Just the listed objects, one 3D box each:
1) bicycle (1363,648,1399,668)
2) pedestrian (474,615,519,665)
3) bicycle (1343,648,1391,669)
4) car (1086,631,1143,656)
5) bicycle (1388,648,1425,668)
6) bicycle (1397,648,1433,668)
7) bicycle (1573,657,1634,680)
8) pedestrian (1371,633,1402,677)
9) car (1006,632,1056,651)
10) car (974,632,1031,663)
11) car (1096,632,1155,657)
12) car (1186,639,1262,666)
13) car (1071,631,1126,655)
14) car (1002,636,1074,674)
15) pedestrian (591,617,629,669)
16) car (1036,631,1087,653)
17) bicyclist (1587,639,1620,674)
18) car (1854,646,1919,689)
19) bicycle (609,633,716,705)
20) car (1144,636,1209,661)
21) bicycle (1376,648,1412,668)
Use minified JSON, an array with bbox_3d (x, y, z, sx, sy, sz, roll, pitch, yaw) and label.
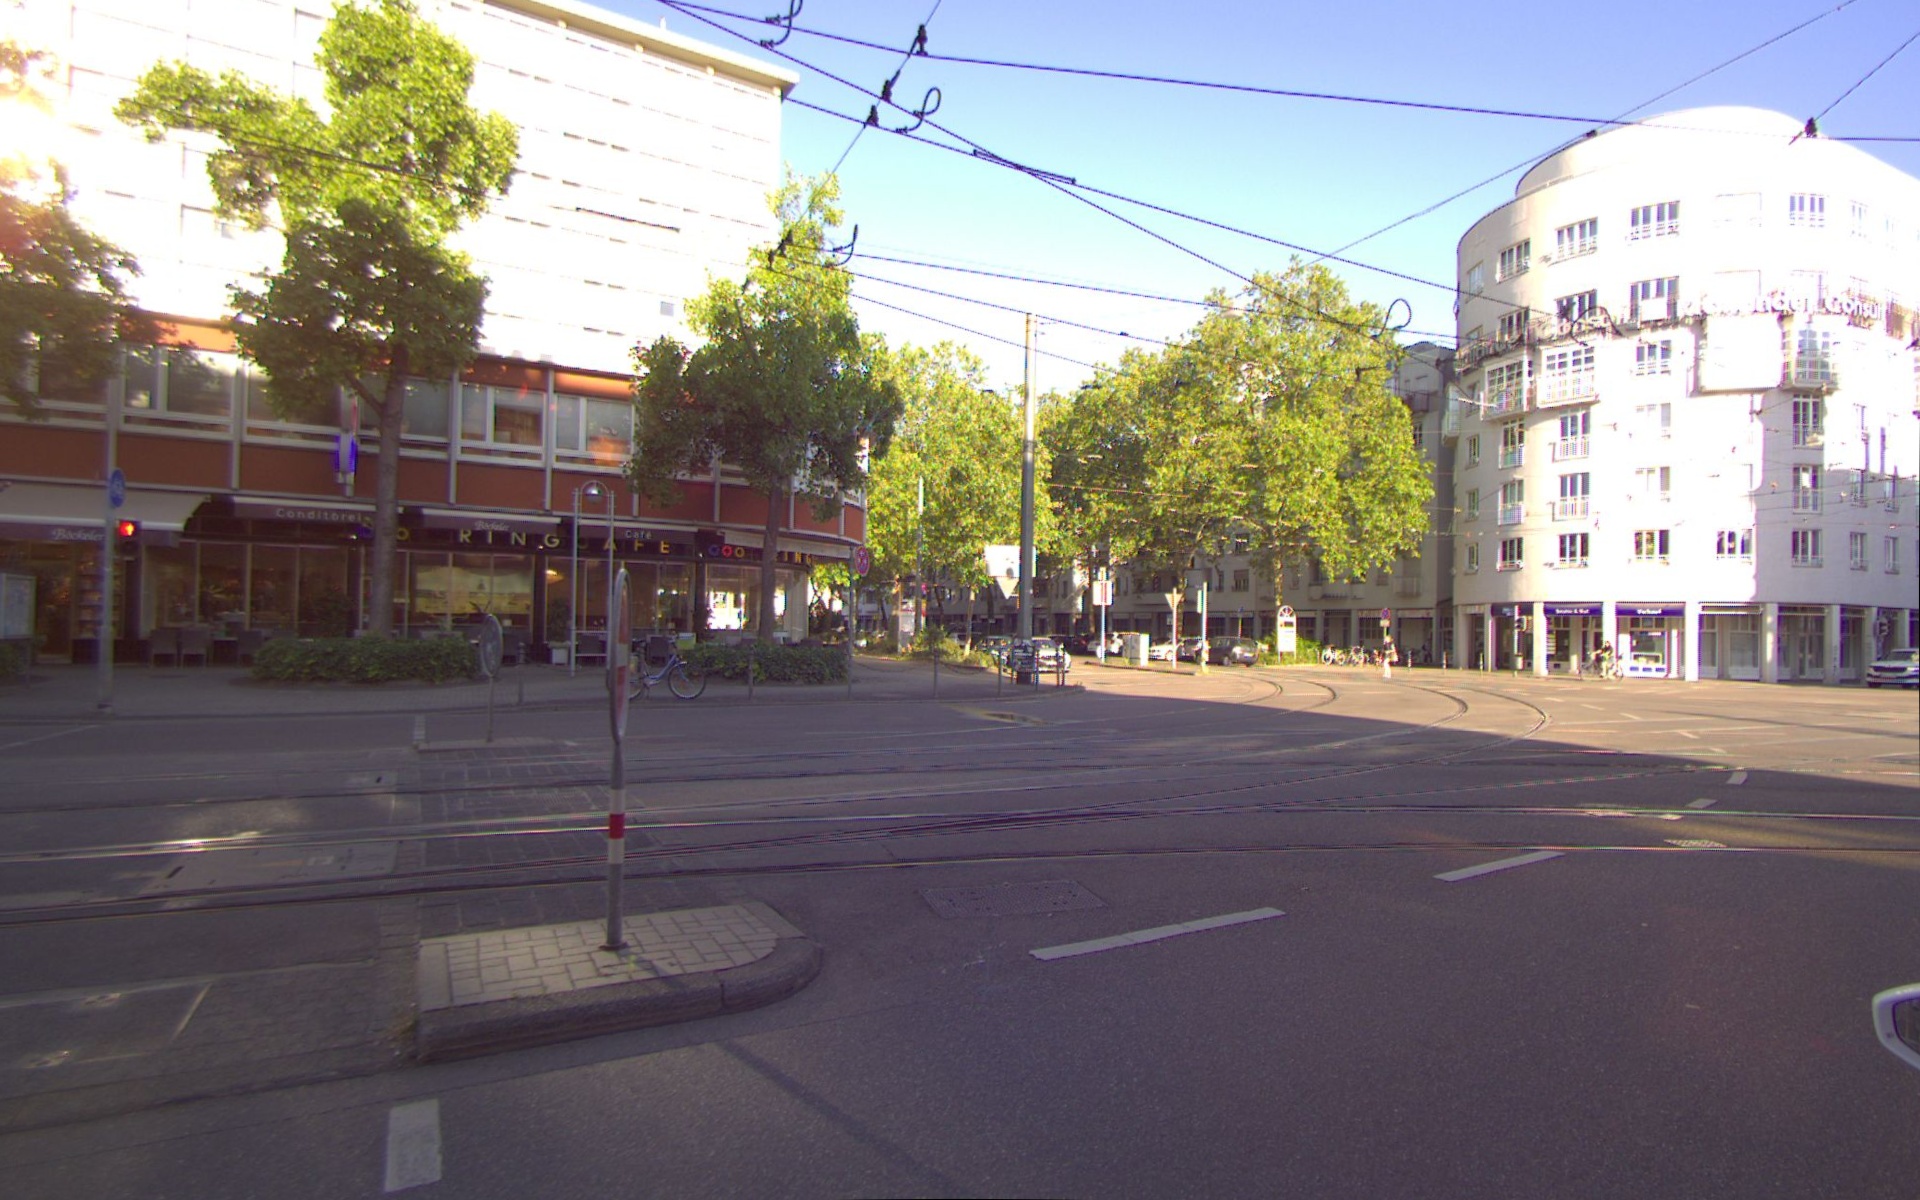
[{"bbox_3d":[24.433,3.362,58.326,0.807,1.122,1.938,1,-2,-22],"label":"bicycle"},{"bbox_3d":[-12.288,1.060,26.648,0.891,1.279,0.839,1,-1,-11],"label":"pedestrian"},{"bbox_3d":[23.163,3.304,57.221,0.930,1.122,2.415,2,-2,-40],"label":"bicycle"},{"bbox_3d":[11.563,3.264,75.198,3.951,1.738,1.787,2,-2,-29],"label":"car"},{"bbox_3d":[26.364,3.417,59.360,0.807,1.122,1.937,2,-2,-24],"label":"bicycle"},{"bbox_3d":[27.092,3.439,59.820,0.807,1.122,1.937,2,-2,-24],"label":"bicycle"},{"bbox_3d":[27.944,2.979,43.626,2.223,0.939,0.842,1,-1,-8],"label":"bicycle"},{"bbox_3d":[16.874,2.161,39.758,0.685,1.704,0.868,0,-2,-18],"label":"pedestrian"},{"bbox_3d":[6.132,3.574,86.328,3.946,1.530,1.789,1,-2,-25],"label":"car"},{"bbox_3d":[2.040,2.317,49.336,1.857,1.439,4.448,2,-2,-10],"label":"car"},{"bbox_3d":[12.039,3.241,73.005,3.951,1.738,1.787,2,-2,-29],"label":"car"},{"bbox_3d":[14.783,2.929,56.417,1.864,1.440,4.432,1,-2,-23],"label":"car"},{"bbox_3d":[10.757,3.364,77.976,3.951,1.738,1.787,2,-2,-29],"label":"car"},{"bbox_3d":[3.157,2.252,41.523,1.857,1.439,4.448,2,-2,-10],"label":"car"},{"bbox_3d":[-9.783,1.204,28.062,0.879,1.414,0.931,2,-2,-26],"label":"pedestrian"},{"bbox_3d":[8.513,3.492,83.979,3.951,1.738,1.787,2,-2,-29],"label":"car"},{"bbox_3d":[27.968,2.438,43.639,0.880,1.486,0.842,1,-1,-8],"label":"bicyclist"},{"bbox_3d":[39.020,2.761,41.304,4.454,1.641,1.986,2,-2,-28],"label":"car"},{"bbox_3d":[-5.471,1.266,18.482,1.829,1.251,0.579,2,0,-22],"label":"bicycle"},{"bbox_3d":[14.242,3.191,65.964,3.951,1.530,1.787,2,-2,-29],"label":"car"},{"bbox_3d":[25.333,3.386,58.704,0.807,1.122,1.938,1,-2,-22],"label":"bicycle"}]
